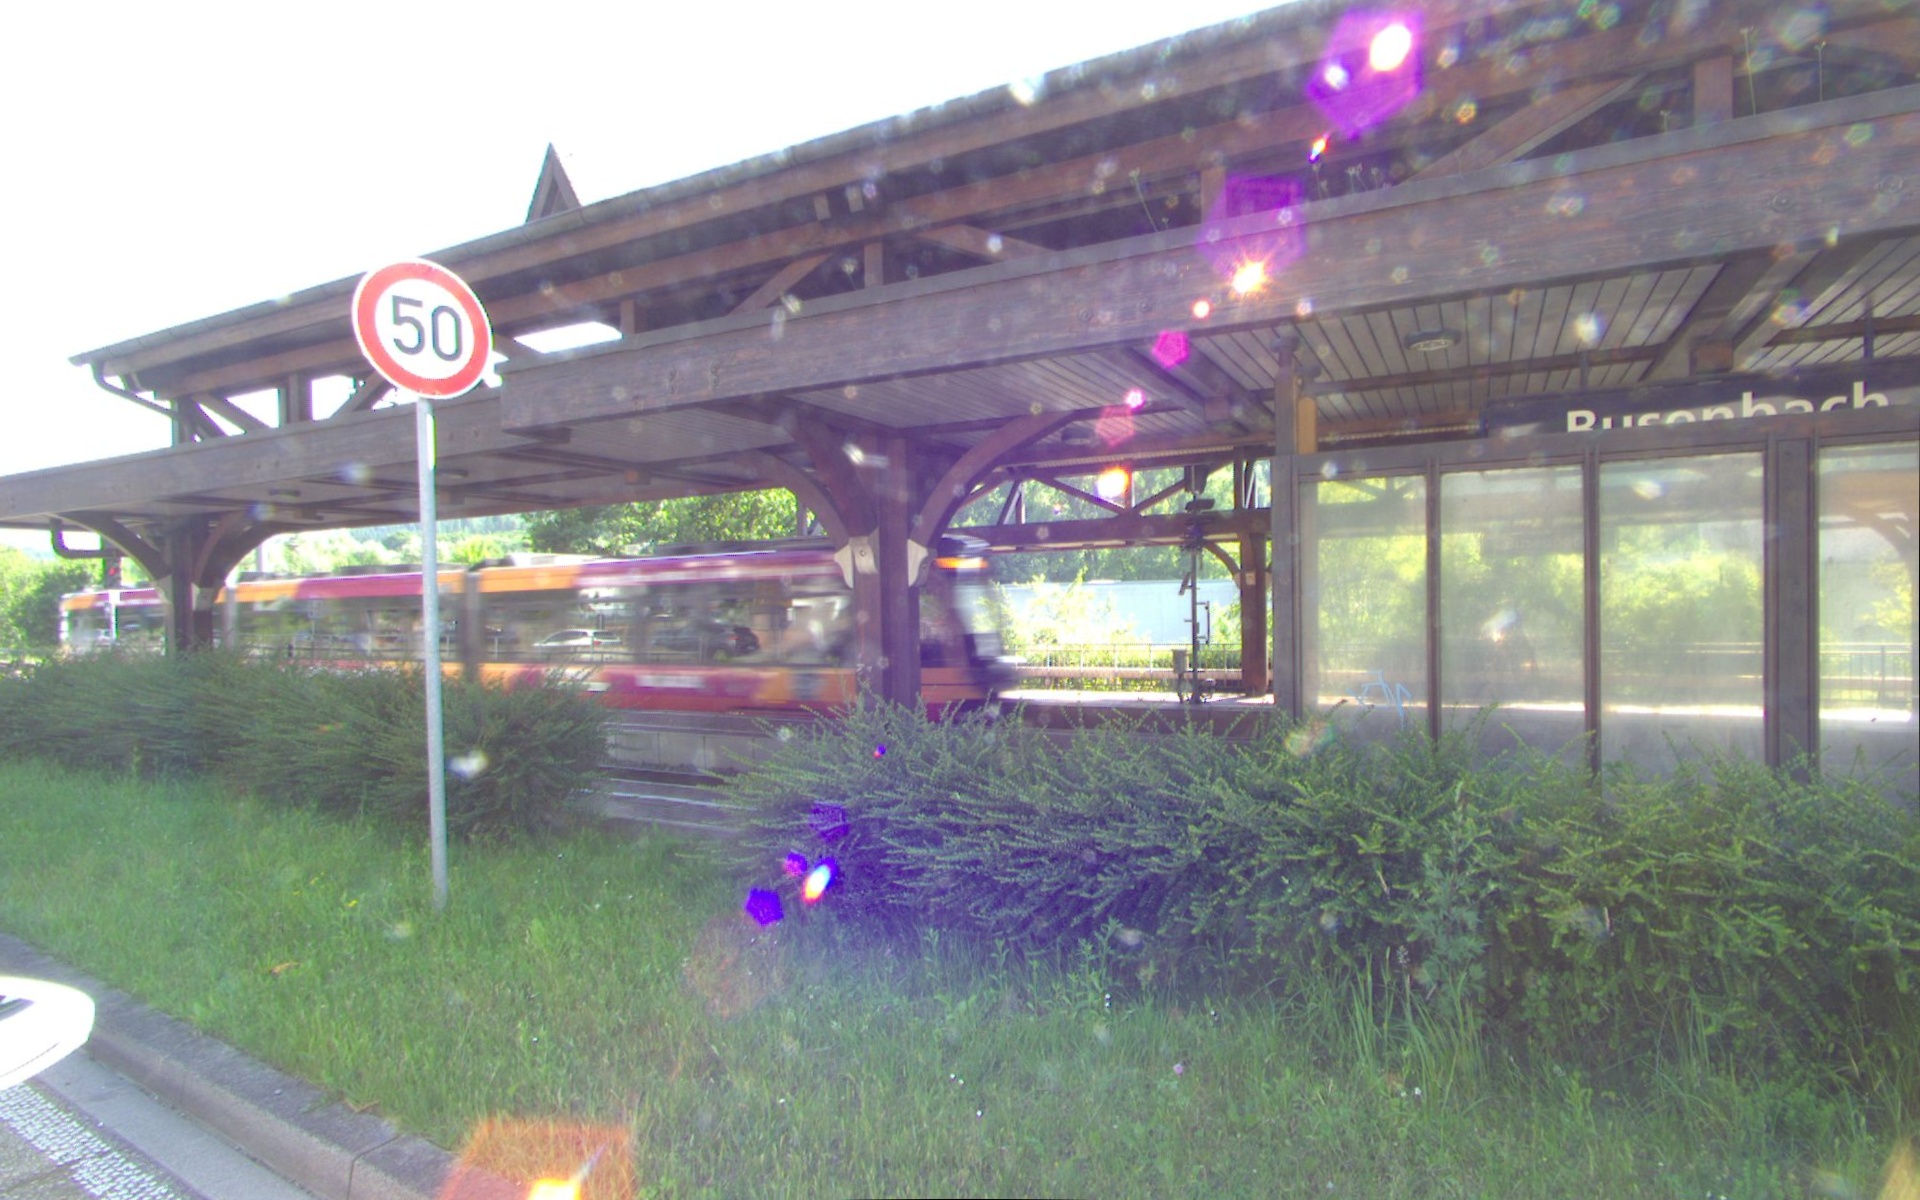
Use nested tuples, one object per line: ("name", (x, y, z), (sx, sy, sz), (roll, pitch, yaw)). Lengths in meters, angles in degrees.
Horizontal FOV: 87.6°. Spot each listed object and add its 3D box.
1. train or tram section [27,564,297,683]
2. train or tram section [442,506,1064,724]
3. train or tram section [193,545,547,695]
("train or tram section", (-26.506, 0.732, 32.967), (11.866, 3.407, 2.754), (0, -2, 30))
("train or tram section", (-4.929, 0.343, 20.472), (14.138, 3.408, 2.853), (-1, -1, 30))
("train or tram section", (-16.220, 0.620, 26.990), (11.870, 3.406, 2.784), (-1, -2, 31))
